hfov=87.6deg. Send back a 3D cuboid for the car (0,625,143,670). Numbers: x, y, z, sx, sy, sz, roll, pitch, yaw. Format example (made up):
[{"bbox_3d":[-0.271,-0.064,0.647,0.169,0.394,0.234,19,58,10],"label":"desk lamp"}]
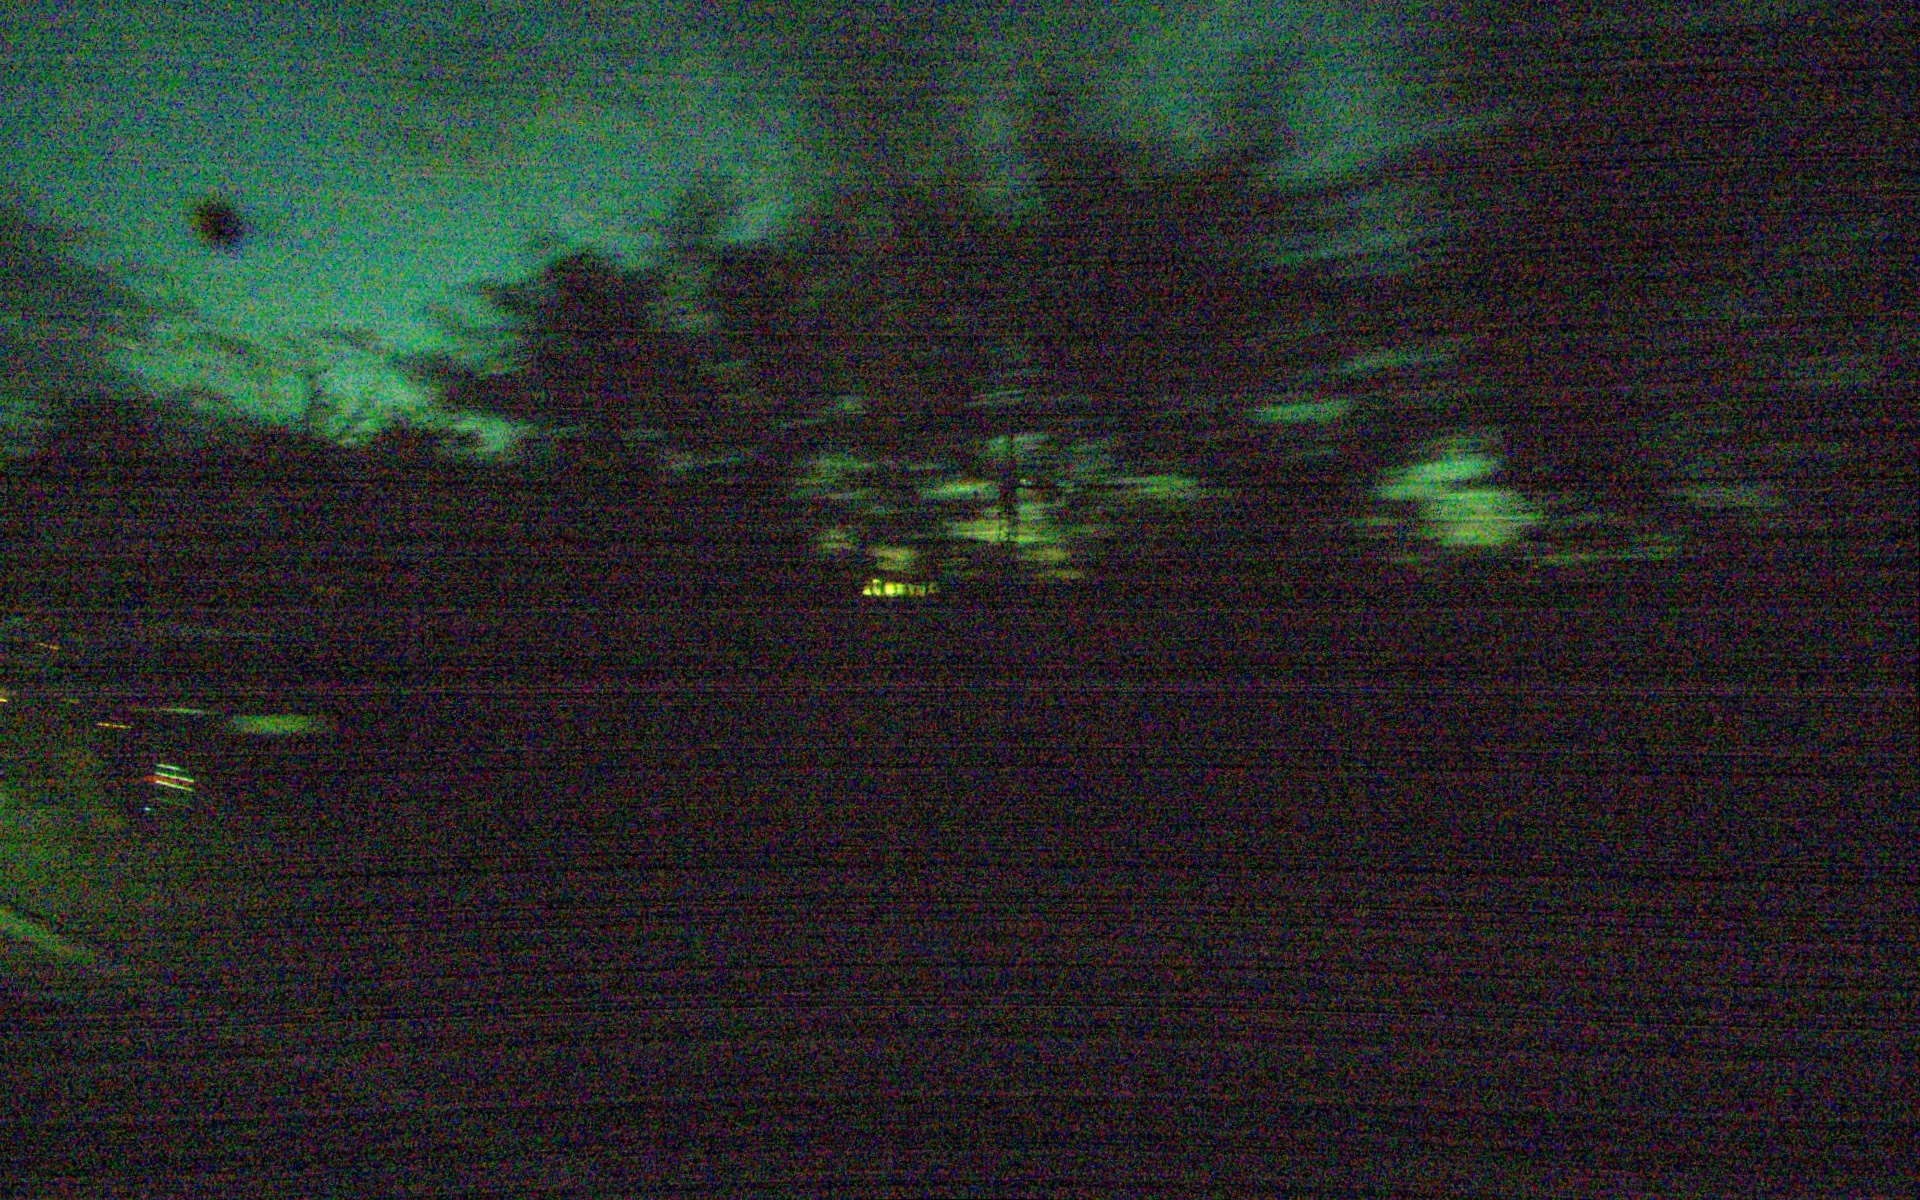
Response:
[{"bbox_3d":[-39.355,2.084,43.998,1.965,1.859,5.056,-1,-3,38],"label":"car"}]

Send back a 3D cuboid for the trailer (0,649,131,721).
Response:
[{"bbox_3d":[-18.276,1.473,18.772,9.495,0.978,2.168,-1,-4,38],"label":"trailer"}]

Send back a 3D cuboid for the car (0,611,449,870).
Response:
[{"bbox_3d":[-6.324,0.925,8.148,4.266,1.571,1.990,0,-3,34],"label":"car"}]

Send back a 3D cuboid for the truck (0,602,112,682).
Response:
[{"bbox_3d":[-30.017,1.353,32.164,7.641,2.312,2.372,-1,-3,35],"label":"truck"}]

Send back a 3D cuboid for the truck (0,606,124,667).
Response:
[{"bbox_3d":[-41.678,1.677,45.258,2.439,2.632,5.518,-1,-3,35],"label":"truck"}]

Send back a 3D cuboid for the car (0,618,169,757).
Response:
[{"bbox_3d":[-12.162,1.052,12.993,3.947,1.571,1.930,-1,-3,36],"label":"car"}]
